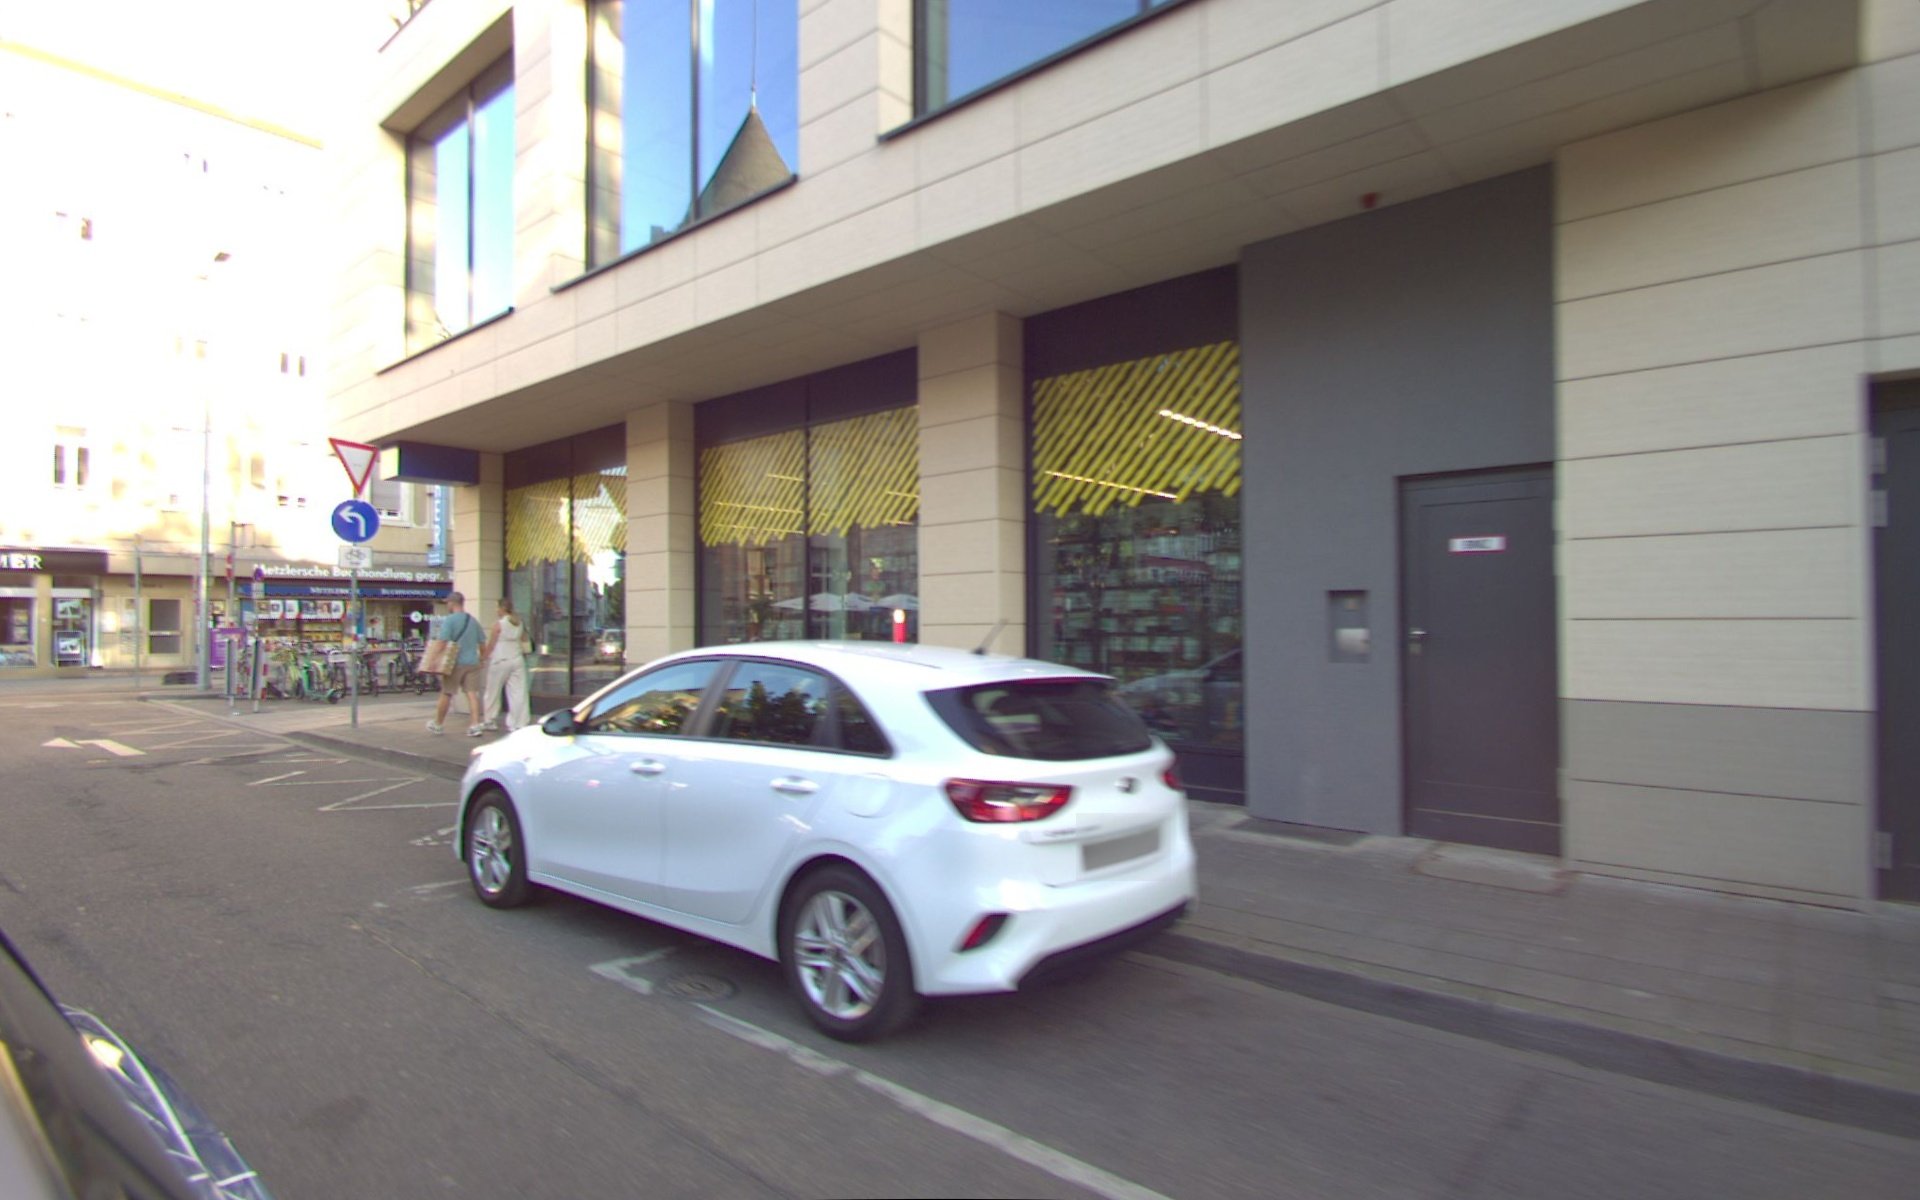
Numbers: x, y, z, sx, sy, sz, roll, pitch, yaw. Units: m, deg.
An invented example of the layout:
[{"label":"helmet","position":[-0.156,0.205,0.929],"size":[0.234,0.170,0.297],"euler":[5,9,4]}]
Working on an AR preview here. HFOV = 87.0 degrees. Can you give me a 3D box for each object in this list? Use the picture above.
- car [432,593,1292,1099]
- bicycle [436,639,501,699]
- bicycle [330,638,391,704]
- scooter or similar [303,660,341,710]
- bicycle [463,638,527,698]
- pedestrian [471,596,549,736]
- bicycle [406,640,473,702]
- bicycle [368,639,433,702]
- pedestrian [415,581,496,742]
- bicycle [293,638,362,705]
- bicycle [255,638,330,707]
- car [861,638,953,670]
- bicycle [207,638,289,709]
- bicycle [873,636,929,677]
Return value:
[{"label":"car","position":[-0.774,0.788,4.986],"size":[4.227,1.464,1.760],"euler":[-2,-2,40]},{"label":"bicycle","position":[-10.876,1.501,22.374],"size":[1.977,1.264,0.506],"euler":[-1,-2,40]},{"label":"bicycle","position":[-12.307,1.428,20.751],"size":[1.978,1.264,0.506],"euler":[-1,-2,42]},{"label":"scooter or similar","position":[-11.886,1.573,18.848],"size":[0.769,0.891,0.383],"euler":[-1,-2,39]},{"label":"bicycle","position":[-10.494,1.506,22.790],"size":[1.977,1.264,0.506],"euler":[-1,-2,40]},{"label":"pedestrian","position":[-5.631,0.804,12.669],"size":[0.646,1.687,0.665],"euler":[-2,-2,38]},{"label":"bicycle","position":[-11.249,1.502,21.852],"size":[1.976,1.264,0.507],"euler":[-1,-2,39]},{"label":"bicycle","position":[-11.765,1.453,21.271],"size":[1.977,1.264,0.506],"euler":[-1,-2,40]},{"label":"pedestrian","position":[-6.056,0.724,12.146],"size":[0.646,1.850,0.665],"euler":[-2,-2,38]},{"label":"bicycle","position":[-12.680,1.407,20.260],"size":[1.976,1.264,0.507],"euler":[-1,-2,37]},{"label":"bicycle","position":[-13.030,1.387,19.732],"size":[2.041,1.264,0.575],"euler":[-1,-2,37]},{"label":"car","position":[-2.483,2.560,48.448],"size":[1.861,1.402,4.564],"euler":[-2,-3,37]},{"label":"bicycle","position":[-13.459,1.352,19.102],"size":[2.137,1.264,0.657],"euler":[-1,-2,37]},{"label":"bicycle","position":[-1.896,1.792,32.394],"size":[1.977,1.264,0.506],"euler":[-1,-2,40]}]
